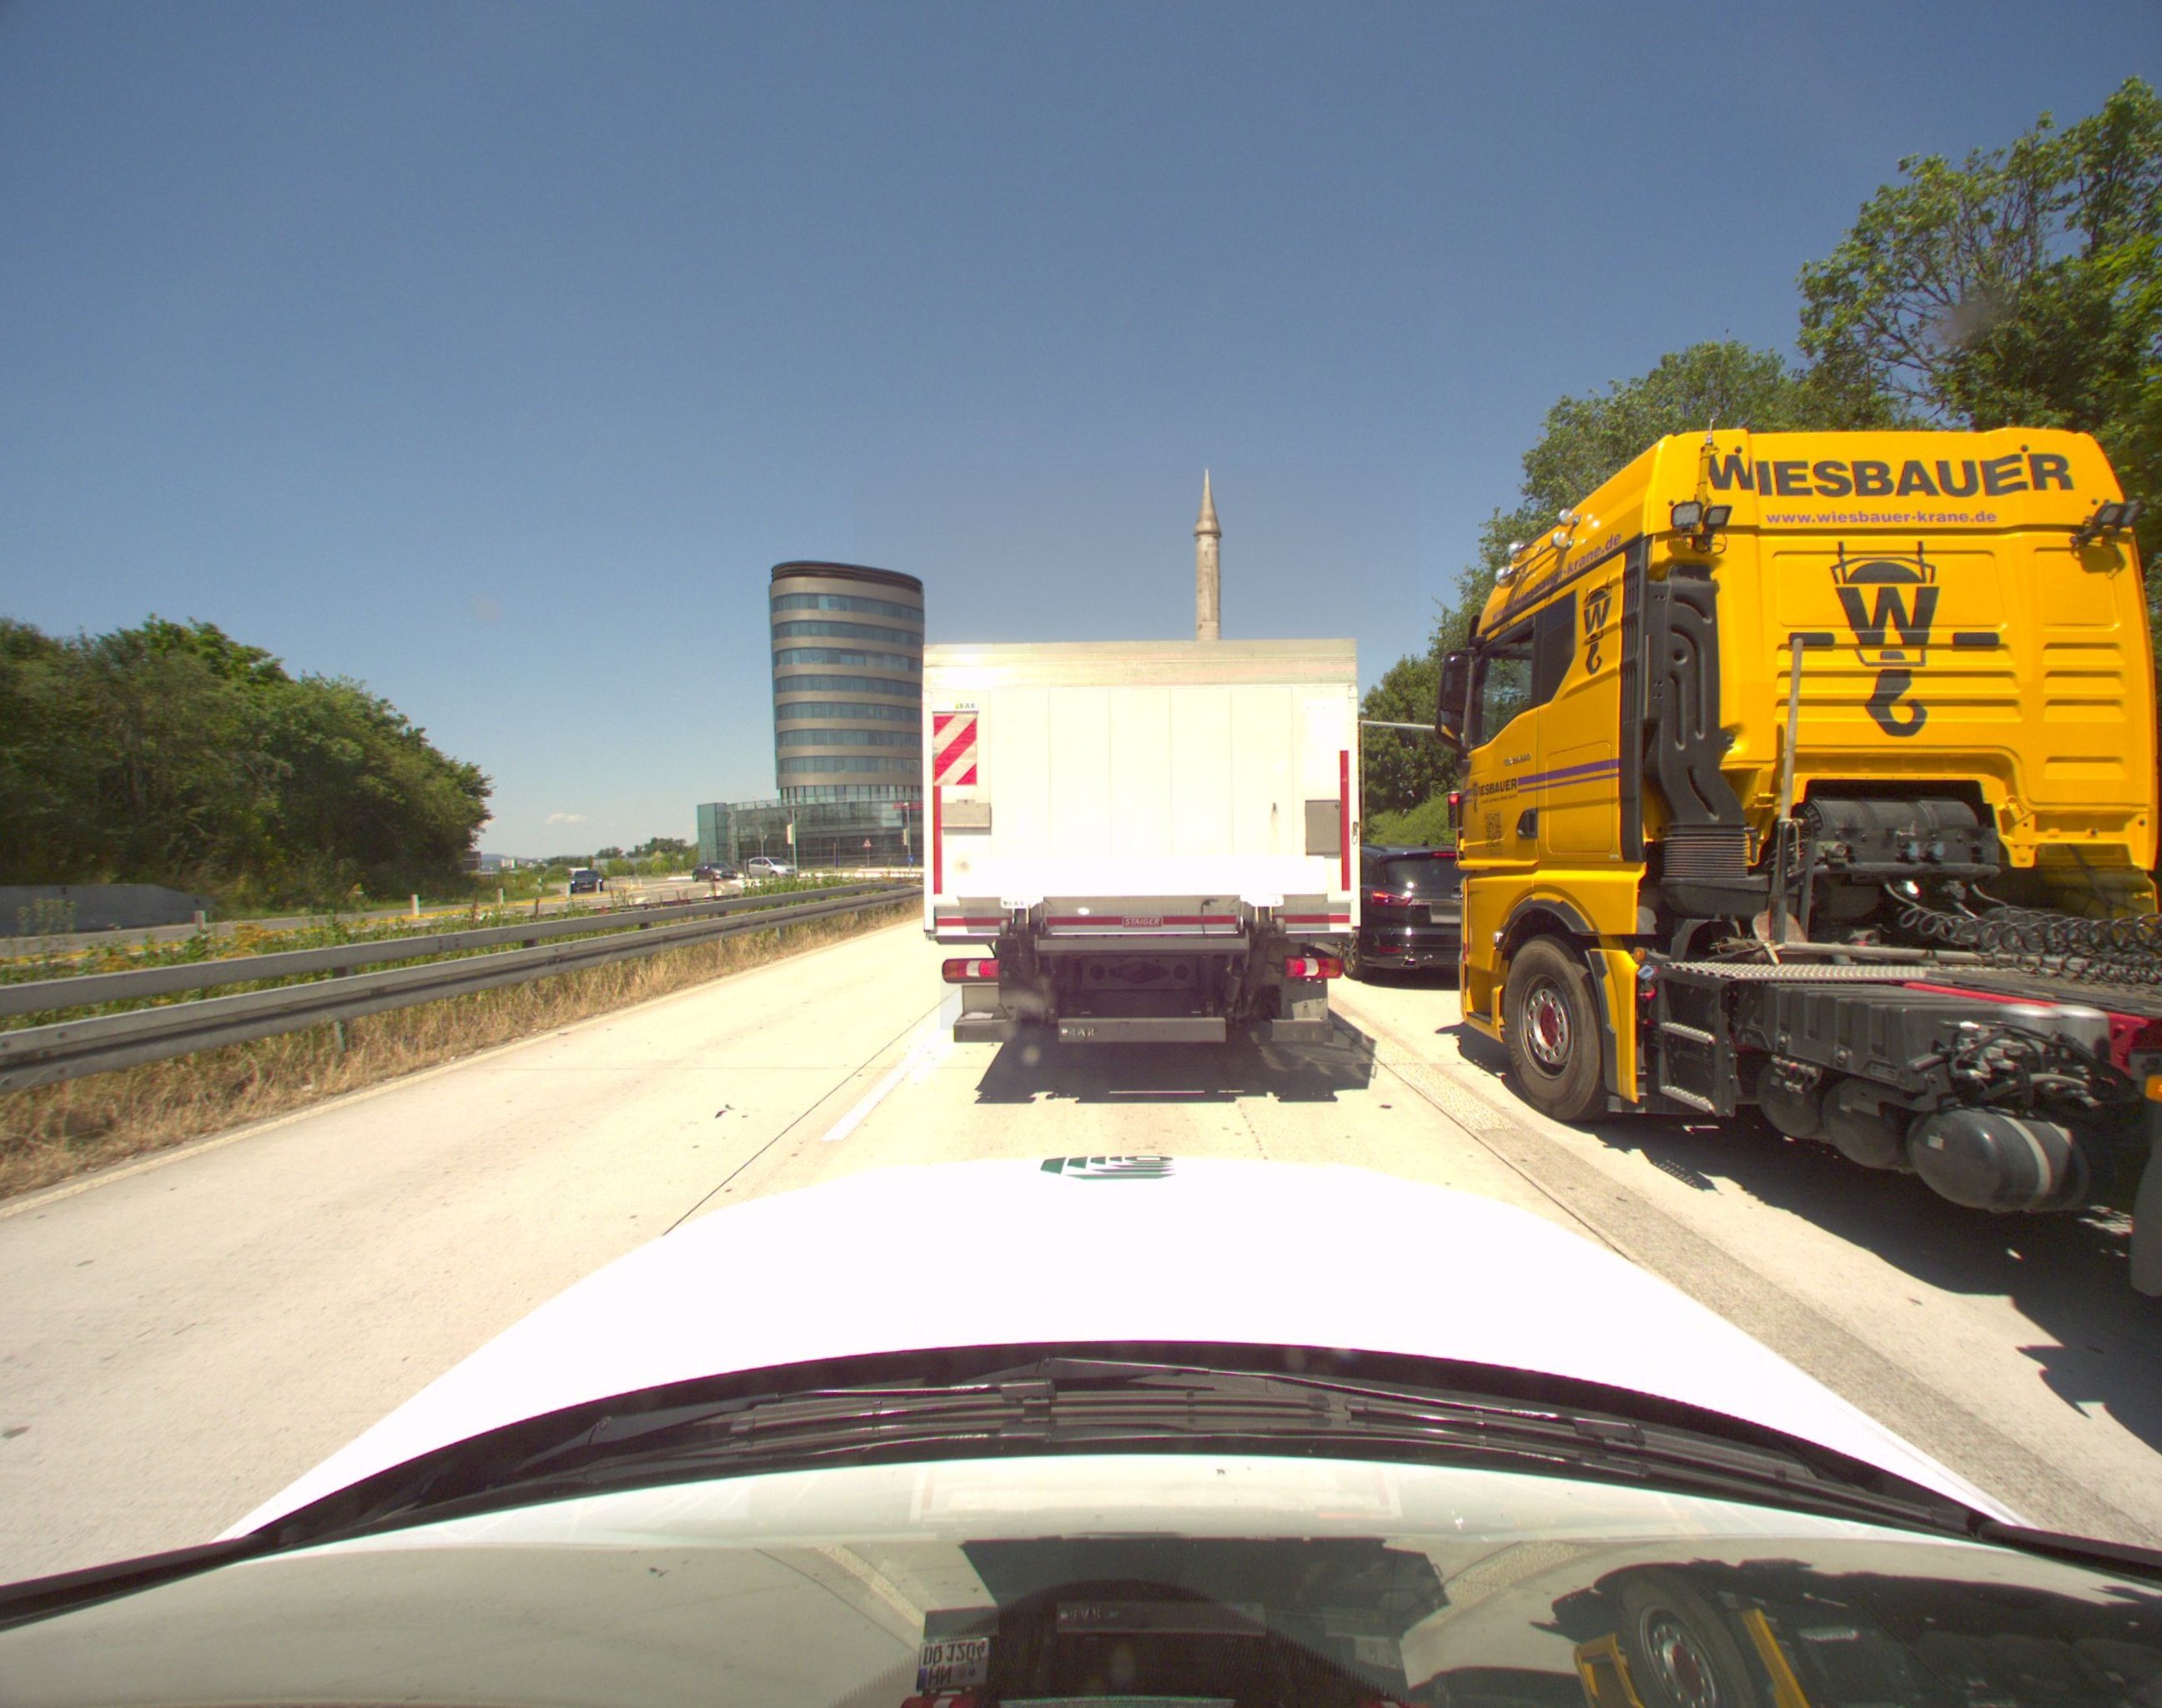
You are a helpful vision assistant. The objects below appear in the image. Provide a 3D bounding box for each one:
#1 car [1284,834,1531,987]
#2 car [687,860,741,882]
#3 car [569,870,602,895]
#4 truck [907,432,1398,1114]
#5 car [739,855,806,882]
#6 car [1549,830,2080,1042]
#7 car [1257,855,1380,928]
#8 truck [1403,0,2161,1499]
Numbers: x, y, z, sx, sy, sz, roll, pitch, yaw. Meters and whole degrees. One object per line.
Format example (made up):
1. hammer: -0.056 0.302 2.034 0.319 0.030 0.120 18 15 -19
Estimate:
1. car: 4.101 0.629 11.122 1.776 1.639 4.652 0 -1 4
2. car: -26.687 1.253 59.216 4.273 1.456 1.708 -3 -2 37
3. car: -31.650 1.791 52.110 1.722 1.485 4.252 0 -1 -30
4. truck: 0.545 -0.426 9.313 2.759 3.860 9.374 0 -1 2
5. car: -20.674 0.982 54.590 4.274 1.595 1.788 -3 -2 29
6. car: 7.723 0.720 9.434 1.763 1.807 4.789 0 -1 -2
7. car: 5.144 0.755 18.271 1.759 1.410 4.615 0 0 5
8. truck: 3.923 -0.446 2.458 3.003 3.772 7.470 0 0 0
